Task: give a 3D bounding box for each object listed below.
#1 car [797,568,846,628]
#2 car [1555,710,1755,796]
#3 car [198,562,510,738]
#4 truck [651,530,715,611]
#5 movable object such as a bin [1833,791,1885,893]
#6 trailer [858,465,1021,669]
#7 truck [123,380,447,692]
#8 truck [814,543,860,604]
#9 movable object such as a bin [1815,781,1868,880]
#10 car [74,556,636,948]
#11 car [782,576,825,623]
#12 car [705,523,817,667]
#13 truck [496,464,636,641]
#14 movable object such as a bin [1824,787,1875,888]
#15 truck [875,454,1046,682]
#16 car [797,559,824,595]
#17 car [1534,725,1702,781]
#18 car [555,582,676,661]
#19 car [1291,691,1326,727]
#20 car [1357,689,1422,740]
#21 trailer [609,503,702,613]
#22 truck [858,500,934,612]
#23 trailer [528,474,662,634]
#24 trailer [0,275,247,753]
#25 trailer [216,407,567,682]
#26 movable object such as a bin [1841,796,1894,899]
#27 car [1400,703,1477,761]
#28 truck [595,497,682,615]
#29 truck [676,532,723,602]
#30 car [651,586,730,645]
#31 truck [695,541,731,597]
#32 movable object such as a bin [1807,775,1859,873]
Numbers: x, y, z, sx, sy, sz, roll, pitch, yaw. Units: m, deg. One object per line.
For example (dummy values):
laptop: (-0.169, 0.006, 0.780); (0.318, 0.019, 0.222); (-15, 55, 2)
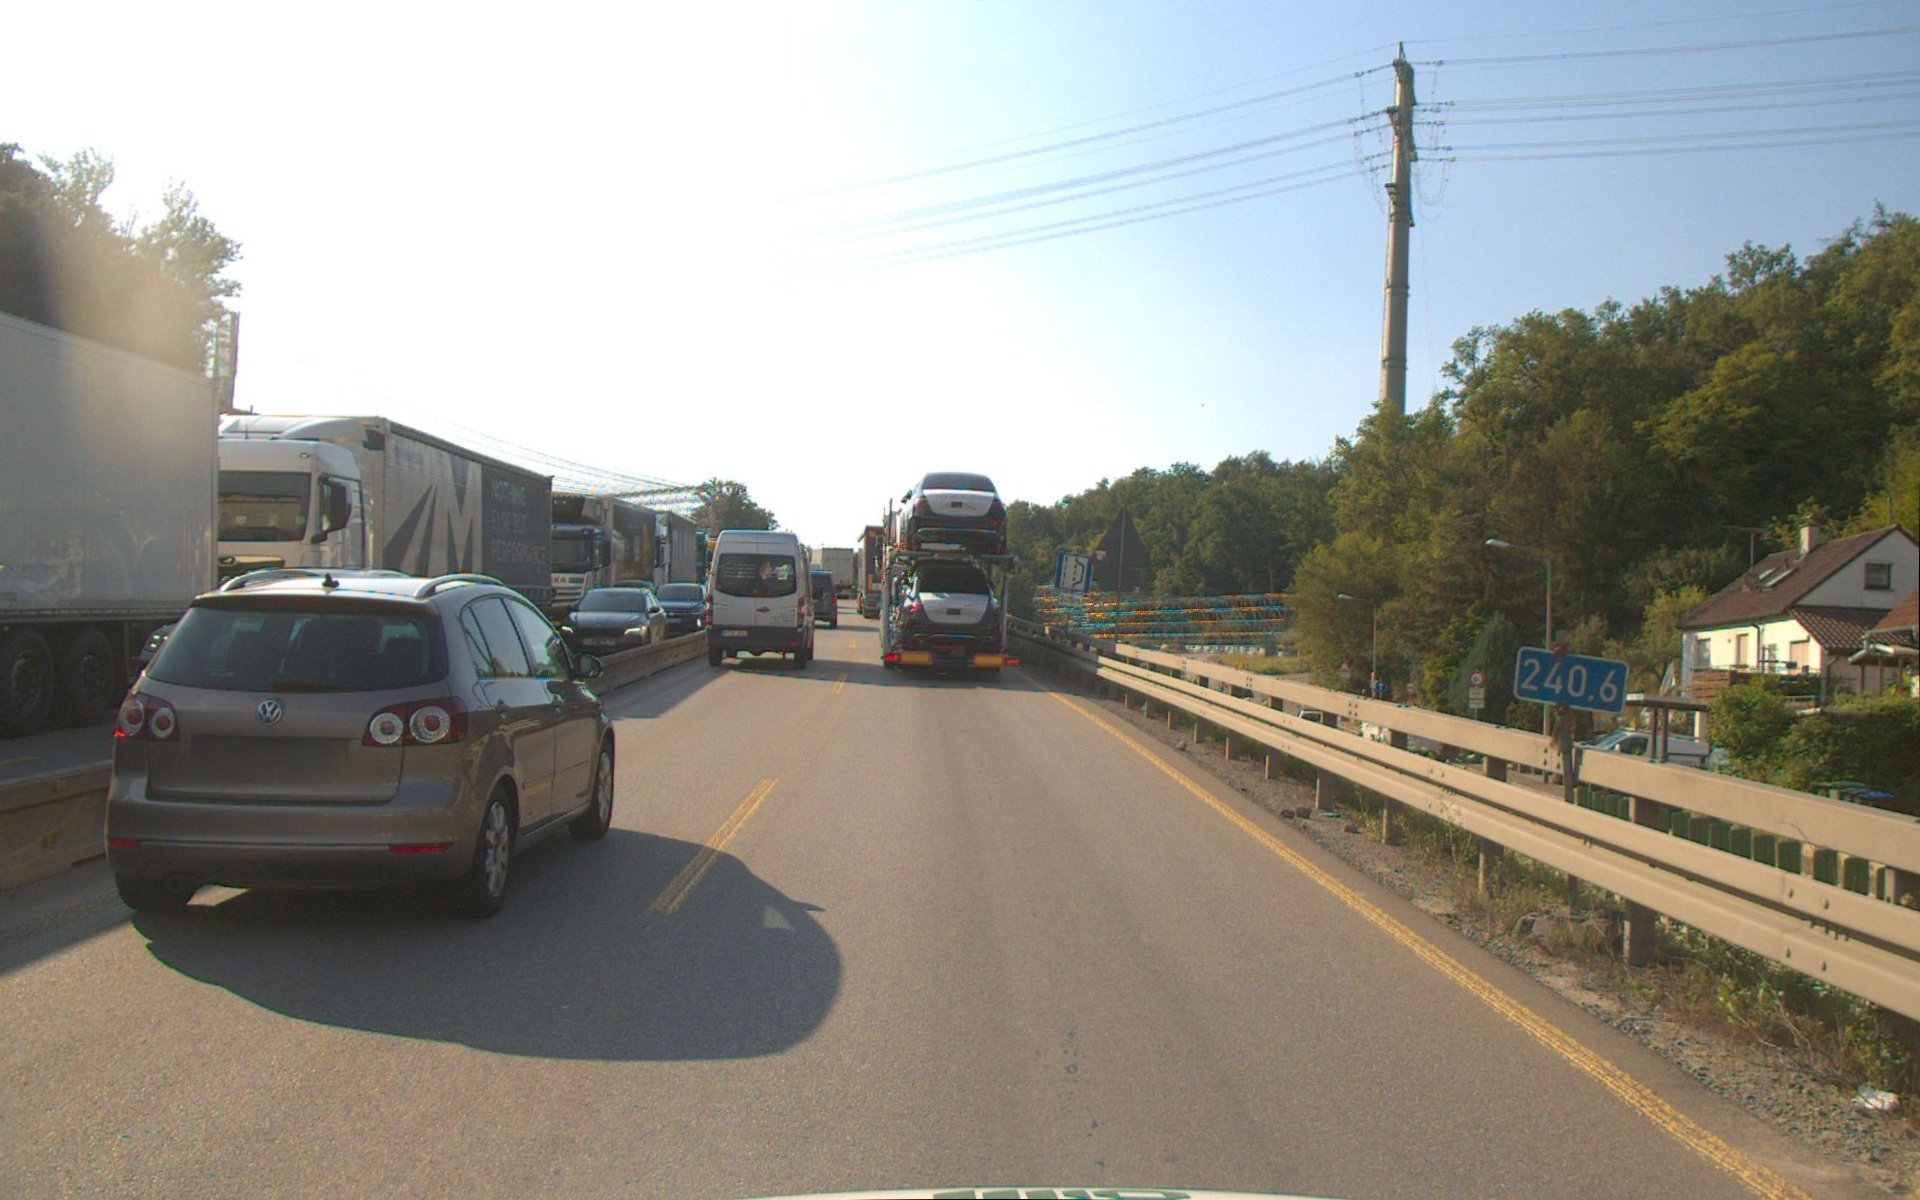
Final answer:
car: (-5.073, -0.040, 60.951); (1.498, 2.049, 3.998); (3, -1, -3)
car: (21.633, 4.755, 51.645); (5.353, 2.303, 2.000); (2, -2, 2)
car: (-6.856, 0.530, 19.378); (1.968, 1.684, 4.971); (3, -1, -3)
truck: (-13.816, -1.443, 82.799); (2.696, 3.872, 7.103); (0, 0, -6)
movable object such as a bin: (16.925, 4.550, 31.141); (0.480, 1.798, 0.414); (11, -1, 8)
trailer: (-0.869, -0.633, 40.950); (2.819, 4.064, 15.262); (1, 0, -5)
truck: (-10.281, -0.870, 25.939); (2.709, 4.277, 6.111); (1, 0, -3)
truck: (-10.168, -2.264, 138.147); (3.576, 4.758, 11.688); (1, 1, -4)
movable object such as a bin: (17.043, 4.454, 31.990); (0.525, 1.798, 0.409); (11, -1, 8)
car: (-2.920, 0.646, 8.969); (1.667, 1.615, 4.144); (1, 0, -3)
car: (-6.984, 0.007, 73.974); (1.797, 1.998, 4.894); (1, -1, -5)
car: (-3.986, -0.086, 33.689); (1.940, 2.731, 4.144); (1, 0, -3)
truck: (-10.905, -1.255, 46.202); (2.862, 4.593, 5.024); (2, 0, -4)
movable object such as a bin: (16.972, 4.523, 31.568); (0.480, 1.798, 0.414); (11, -1, 8)
truck: (-0.123, -0.566, 32.612); (2.814, 4.049, 5.765); (1, 0, -5)
car: (-9.204, -1.394, 101.823); (1.498, 2.049, 3.996); (3, -1, -5)
car: (22.169, 5.160, 55.853); (4.984, 1.584, 1.716); (2, -2, 2)
car: (-7.269, 0.467, 35.318); (1.739, 1.482, 4.811); (3, -1, -3)
car: (16.990, 5.300, 80.765); (1.493, 1.486, 4.271); (1, 0, 9)
car: (18.992, 5.034, 73.259); (1.823, 2.021, 5.053); (1, -2, 3)
trailer: (-12.553, -1.634, 69.046); (2.662, 4.194, 12.479); (0, 0, -5)
truck: (-3.125, -2.038, 77.415); (3.164, 4.758, 11.688); (1, 1, -4)
trailer: (-11.222, -1.325, 51.495); (2.854, 4.543, 7.147); (2, 0, -4)
trailer: (-10.020, -0.810, 13.781); (2.406, 4.395, 13.771); (1, 0, -1)
trailer: (-10.579, -0.847, 32.948); (2.720, 4.277, 13.826); (1, 0, -2)
movable object such as a bin: (16.851, 4.587, 30.709); (0.480, 1.798, 0.414); (11, -1, 8)
car: (18.187, 4.990, 63.009); (1.953, 1.951, 4.866); (1, -2, 6)
truck: (-11.819, -1.574, 61.103); (2.696, 4.187, 5.024); (0, 0, -6)
truck: (-16.353, -2.014, 104.093); (2.650, 4.213, 5.784); (1, 0, -7)
car: (-7.780, 0.470, 48.086); (1.732, 1.578, 4.476); (2, -1, -3)
truck: (-19.363, -2.390, 129.546); (2.644, 4.270, 4.389); (1, 0, -9)
movable object such as a bin: (17.116, 4.384, 32.423); (0.519, 1.798, 0.416); (11, -1, 8)
